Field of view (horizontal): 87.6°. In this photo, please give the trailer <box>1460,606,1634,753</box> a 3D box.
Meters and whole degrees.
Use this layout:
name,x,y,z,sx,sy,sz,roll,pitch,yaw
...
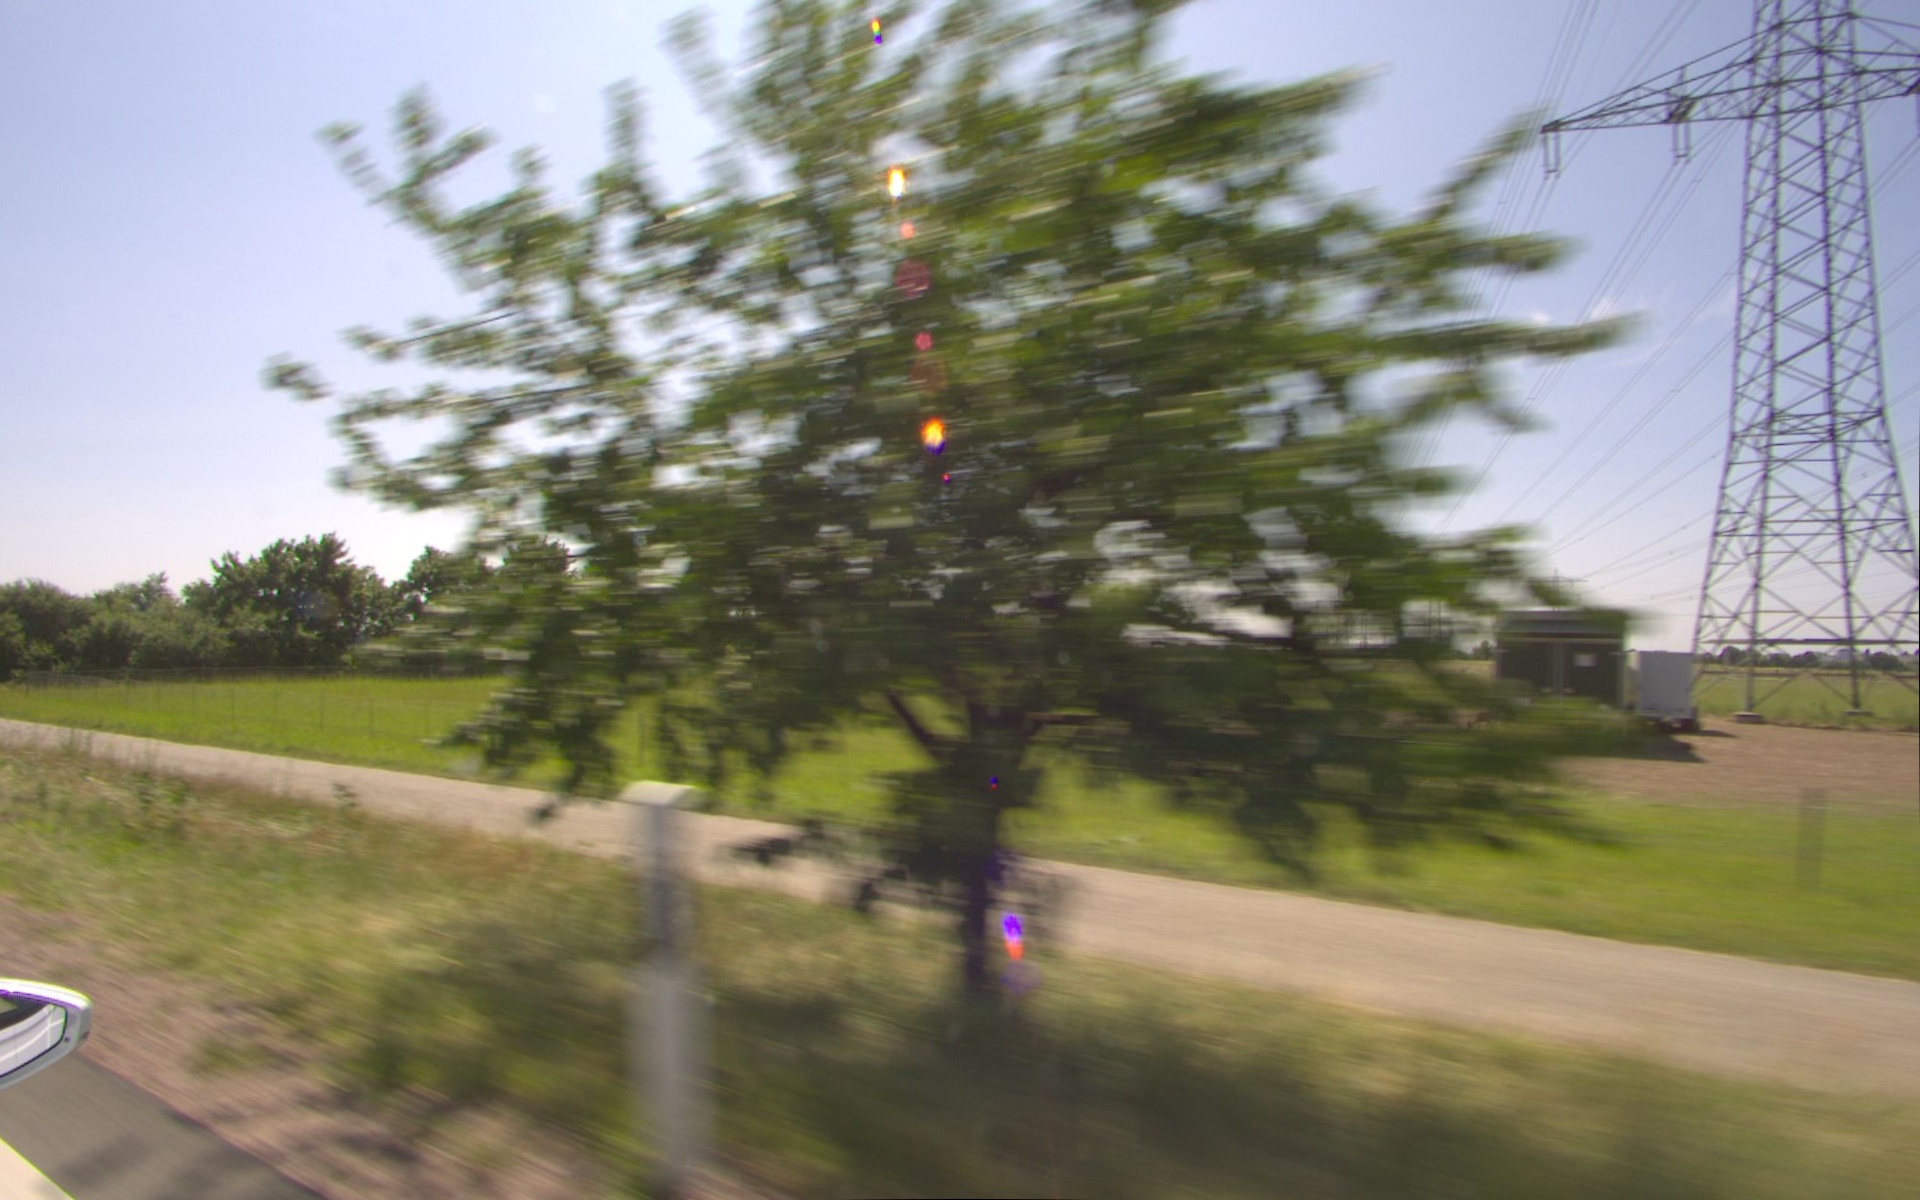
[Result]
name,x,y,z,sx,sy,sz,roll,pitch,yaw
trailer,17.787,2.249,30.315,3.750,3.516,12.398,0,-3,31

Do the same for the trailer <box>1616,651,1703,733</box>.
name,x,y,z,sx,sy,sz,roll,pitch,yaw
trailer,22.934,2.959,32.969,1.970,2.473,3.985,0,-3,29
